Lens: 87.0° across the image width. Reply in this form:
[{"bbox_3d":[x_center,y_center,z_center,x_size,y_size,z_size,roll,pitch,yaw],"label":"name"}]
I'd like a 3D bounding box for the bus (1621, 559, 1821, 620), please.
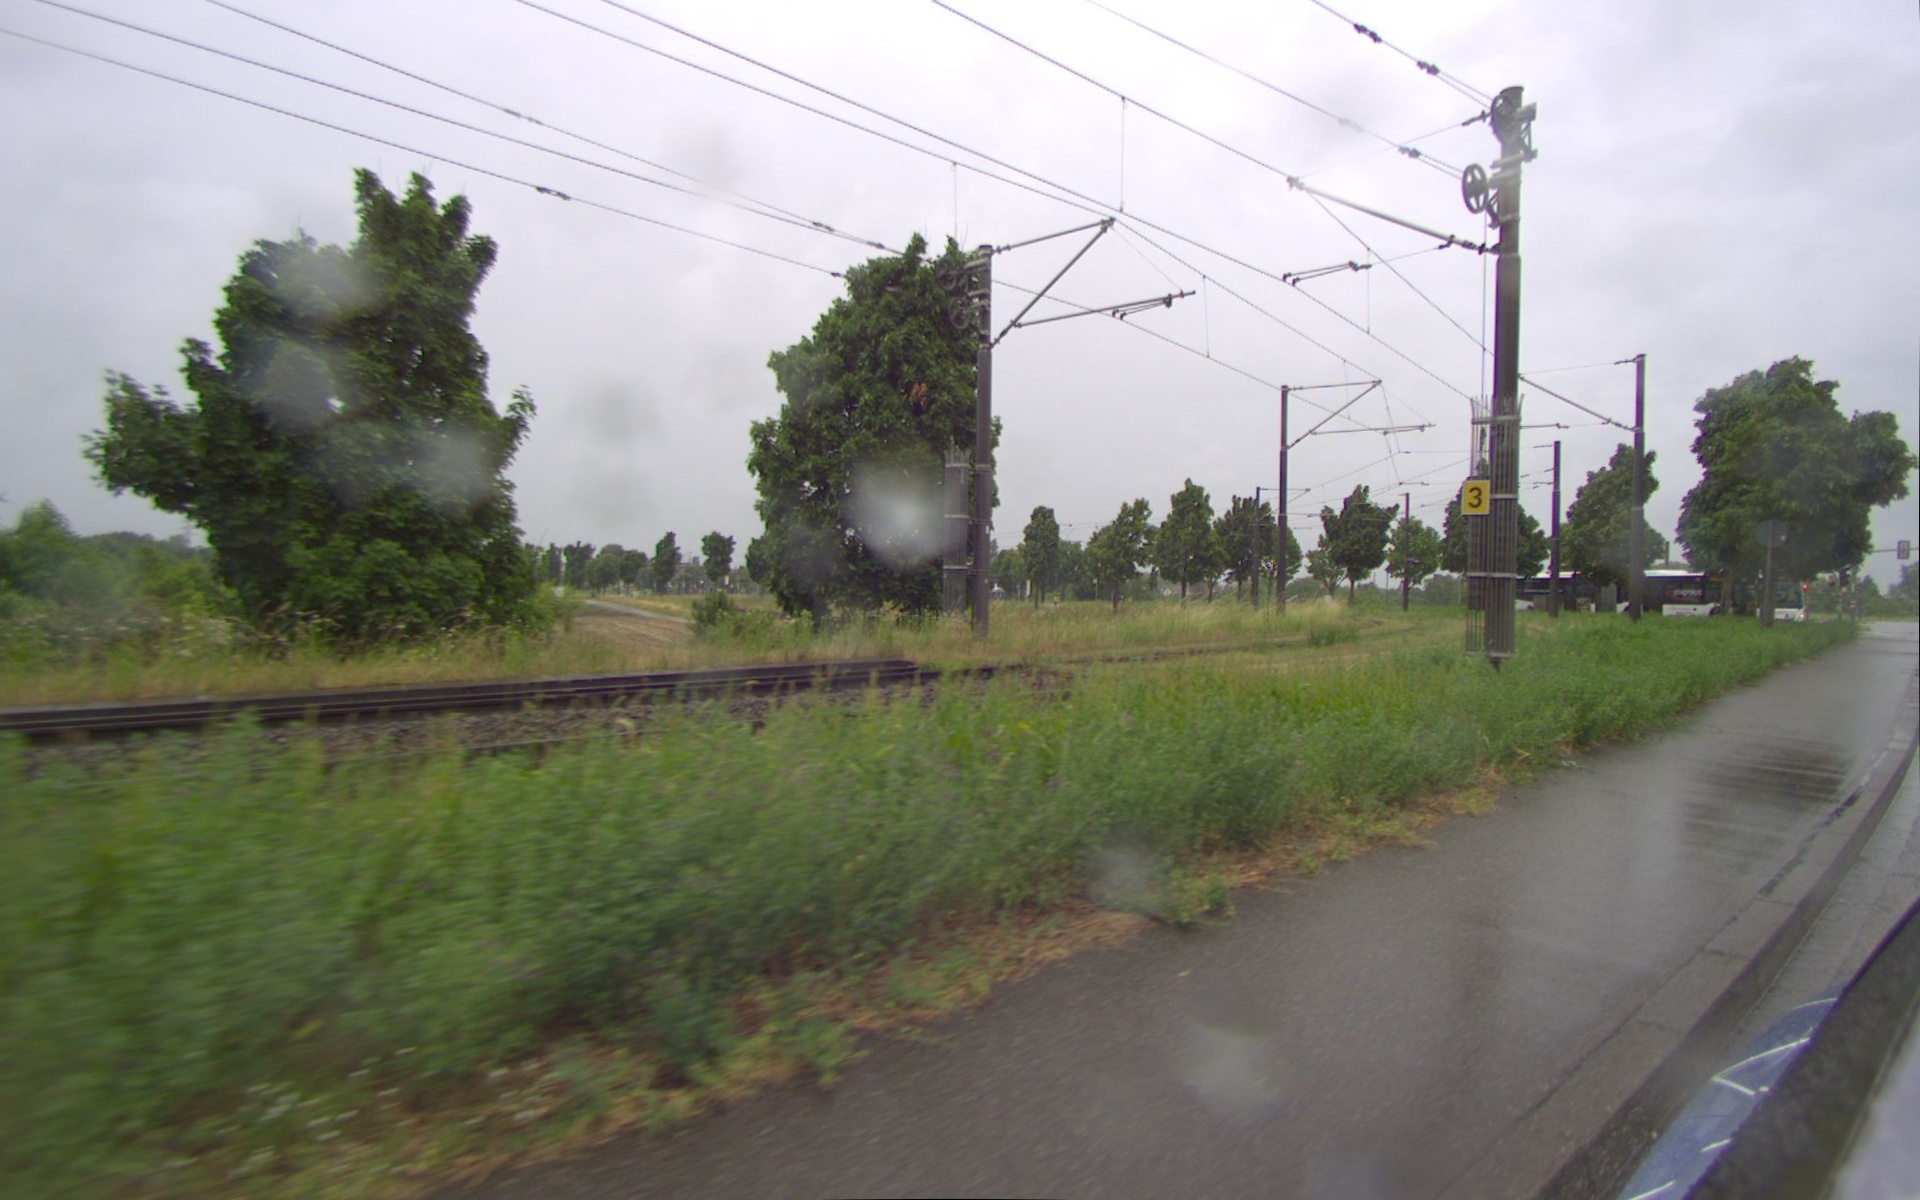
[{"bbox_3d":[41.759,-0.603,56.173,2.624,3.116,10.009,0,1,-7],"label":"bus"}]

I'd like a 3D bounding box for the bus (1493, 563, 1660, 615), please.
[{"bbox_3d":[39.730,-0.727,65.799,2.622,3.116,10.016,0,1,-17],"label":"bus"}]
